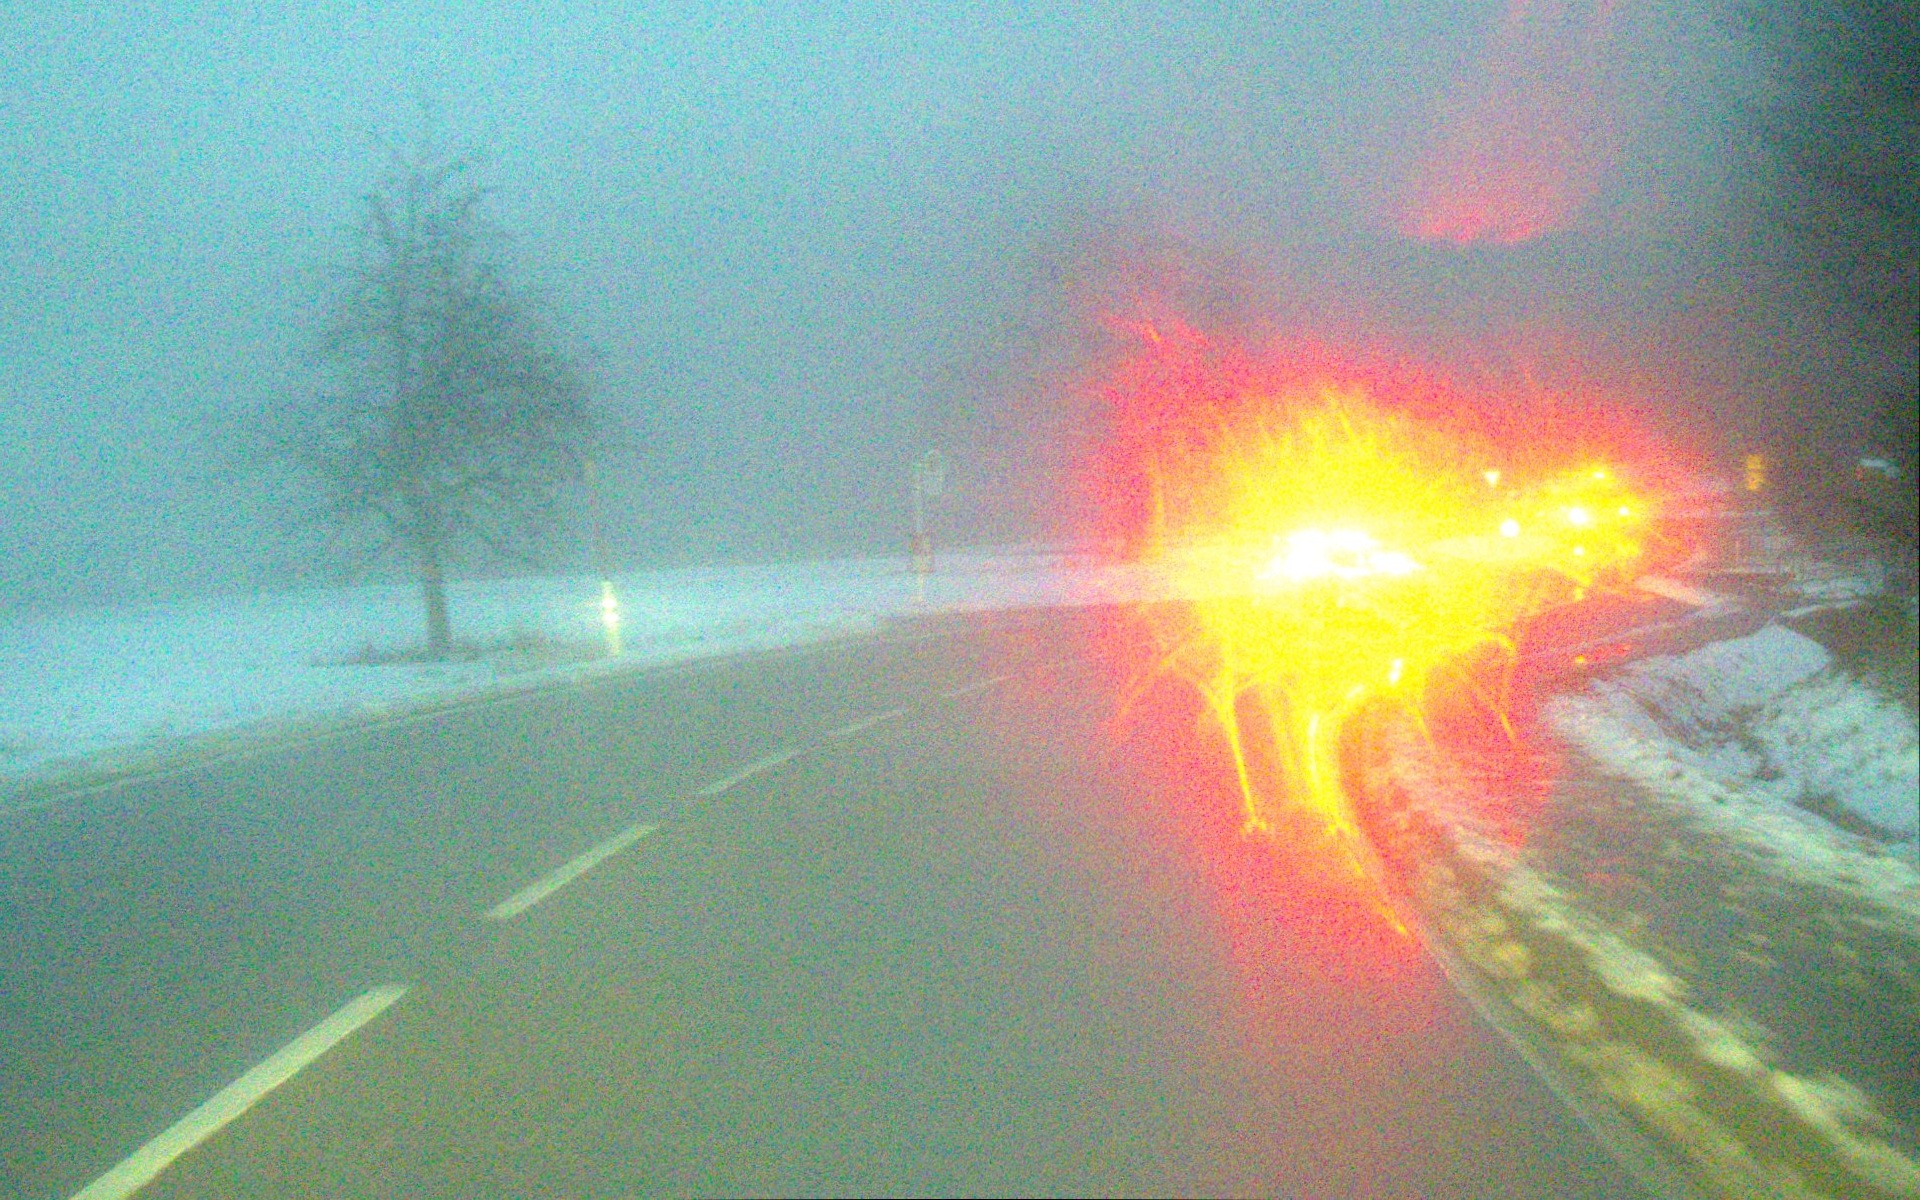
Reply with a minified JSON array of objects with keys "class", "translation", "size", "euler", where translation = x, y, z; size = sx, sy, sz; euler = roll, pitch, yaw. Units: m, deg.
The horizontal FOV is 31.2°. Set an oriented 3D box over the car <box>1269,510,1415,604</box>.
[{"class":"car","translation":[6.026,-0.694,53.932],"size":[1.923,1.272,3.999],"euler":[-1,3,11]}]
